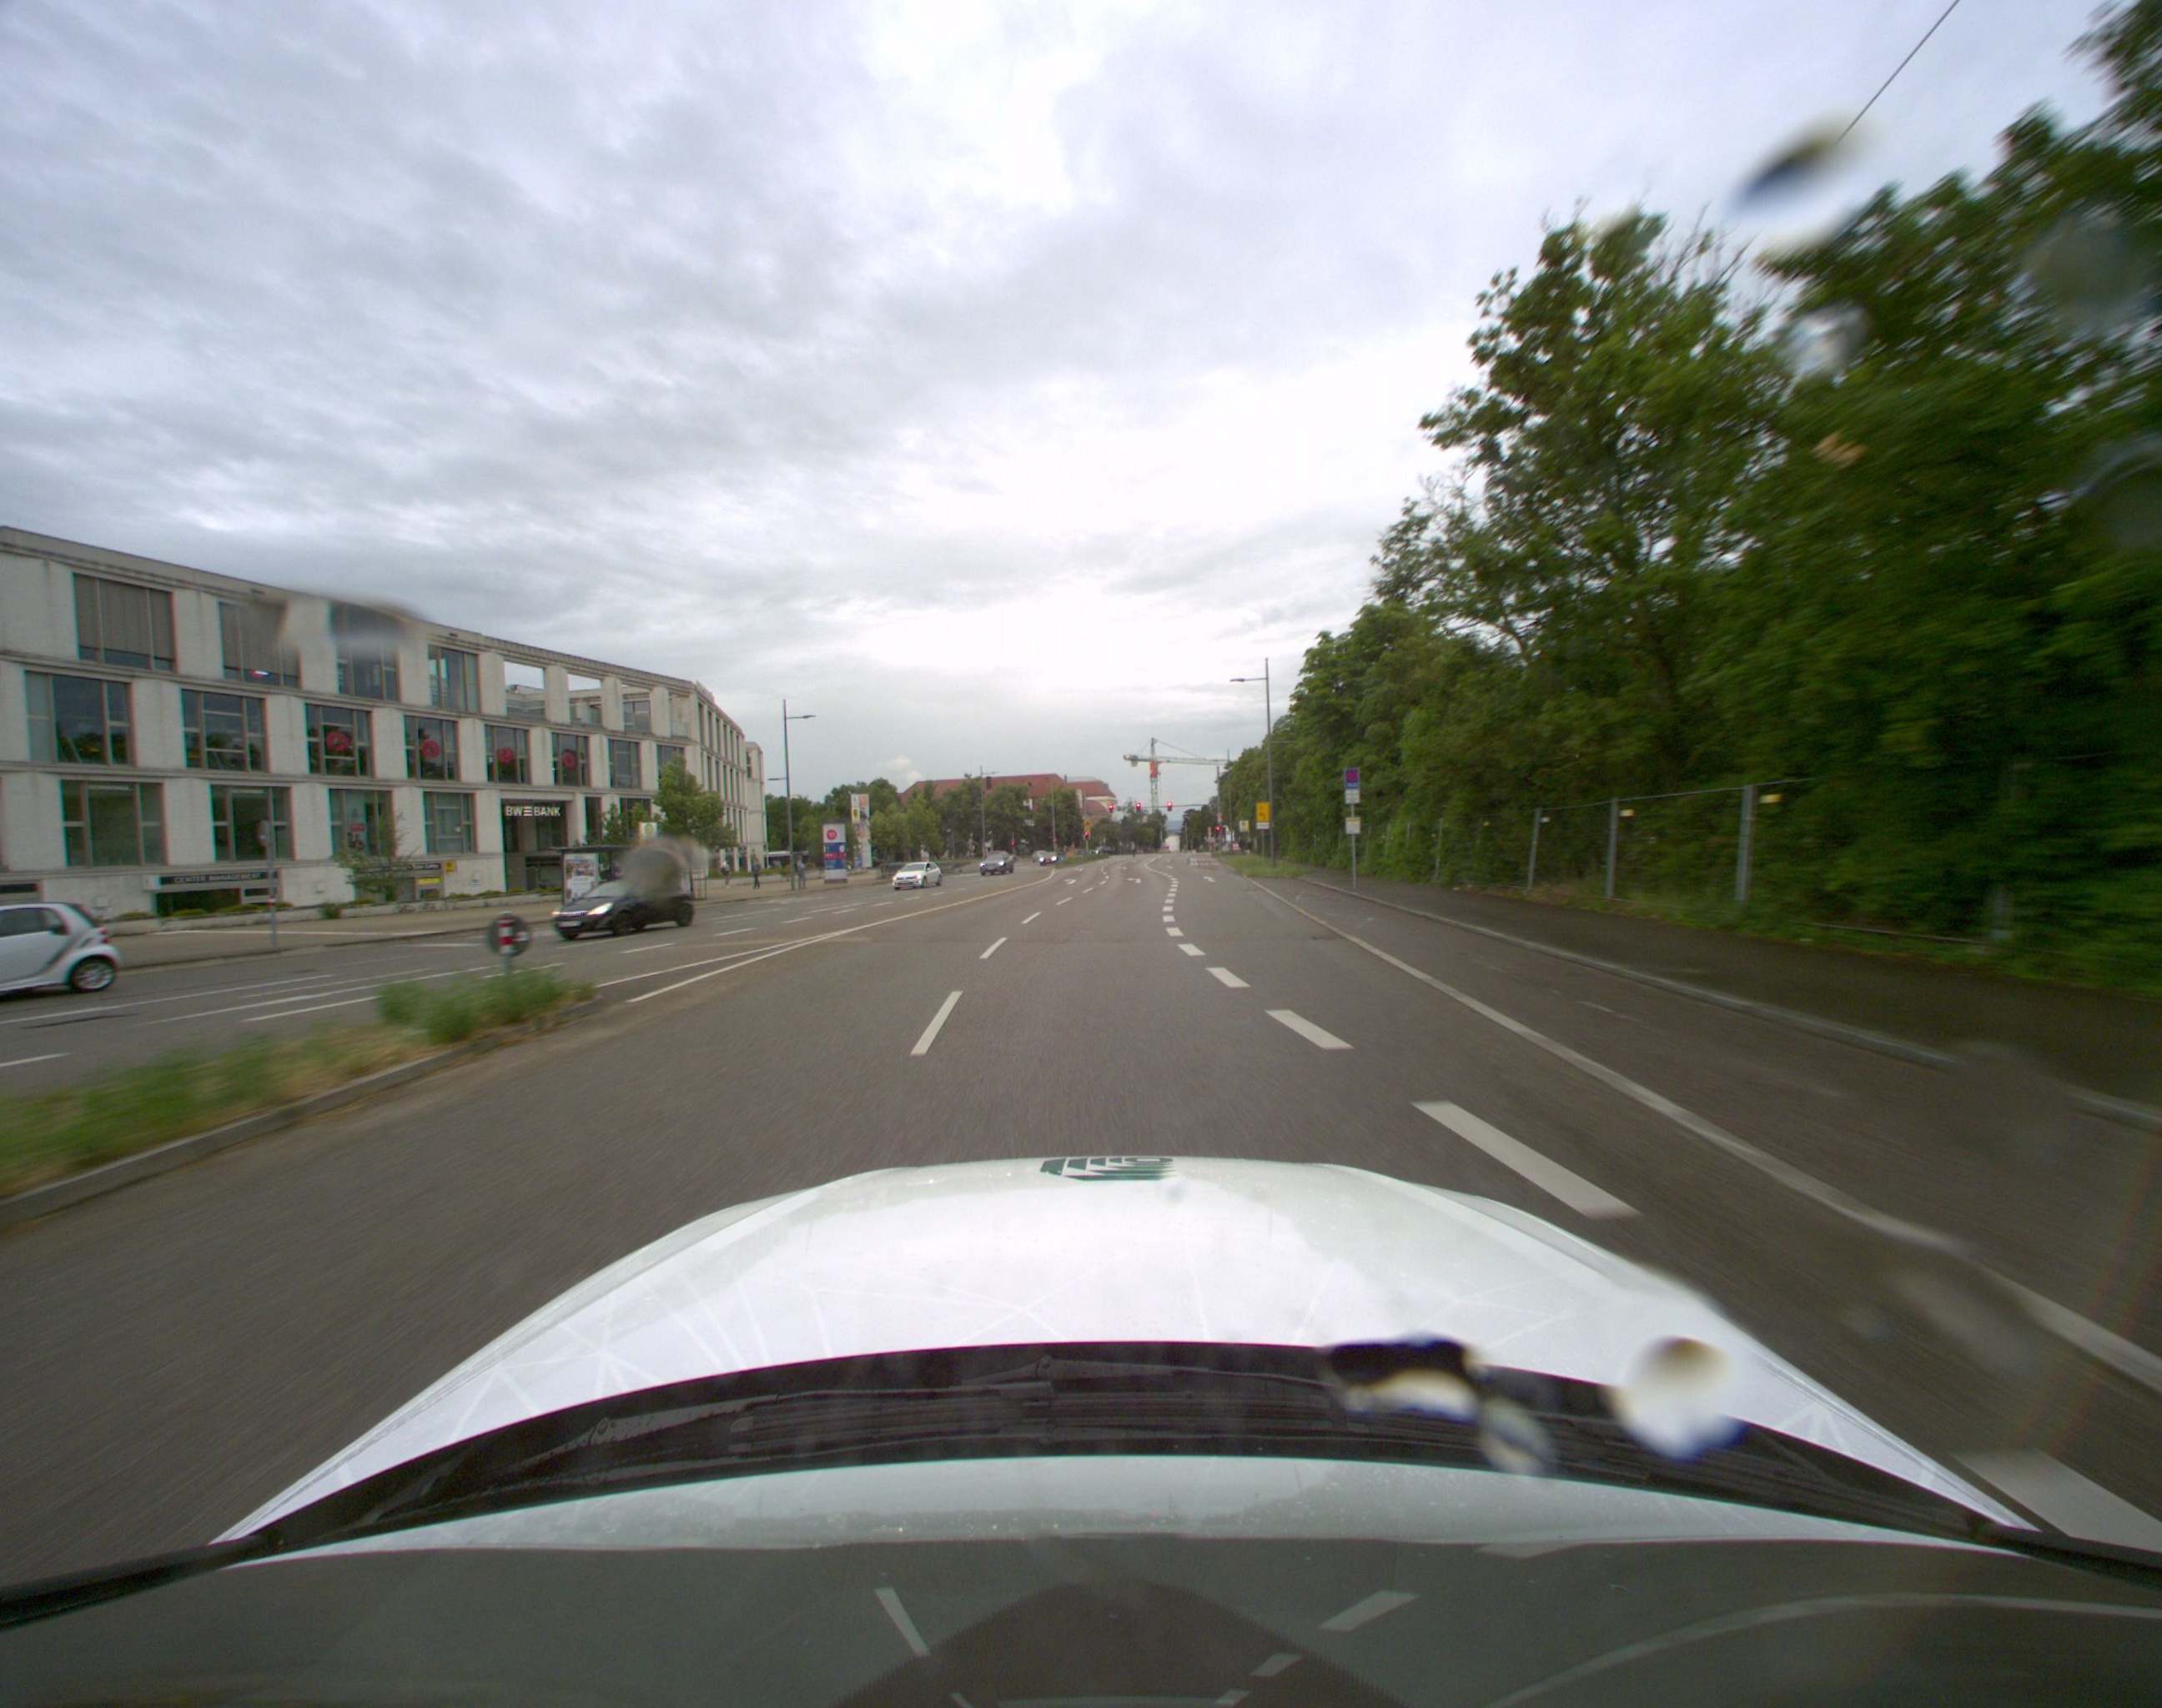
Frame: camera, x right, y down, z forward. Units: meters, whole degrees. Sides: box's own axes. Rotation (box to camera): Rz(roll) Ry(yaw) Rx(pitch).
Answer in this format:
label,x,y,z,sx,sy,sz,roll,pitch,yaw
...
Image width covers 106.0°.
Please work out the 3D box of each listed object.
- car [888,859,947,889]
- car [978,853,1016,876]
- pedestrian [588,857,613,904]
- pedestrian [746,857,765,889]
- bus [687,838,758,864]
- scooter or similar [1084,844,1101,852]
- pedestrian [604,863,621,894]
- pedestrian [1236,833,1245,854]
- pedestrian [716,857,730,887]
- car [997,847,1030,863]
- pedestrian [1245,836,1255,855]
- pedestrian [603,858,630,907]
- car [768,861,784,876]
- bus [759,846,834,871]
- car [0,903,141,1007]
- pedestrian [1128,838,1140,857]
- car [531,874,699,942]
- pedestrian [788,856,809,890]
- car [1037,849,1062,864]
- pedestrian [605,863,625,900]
label,x,y,z,sx,sy,sz,roll,pitch,yaw
car,-9.064,1.109,45.580,1.863,1.430,4.185,-5,-1,7
car,-6.477,0.808,63.540,1.822,1.572,4.603,-5,-1,7
pedestrian,-19.819,1.086,33.581,0.577,1.856,0.608,-2,0,5
pedestrian,-18.568,1.077,46.517,0.595,1.762,0.859,-2,0,10
bus,-50.248,-0.436,114.341,8.534,3.307,2.893,-3,1,-5
scooter or similar,2.140,-1.141,150.720,3.072,1.440,0.950,-2,0,5
pedestrian,-22.449,1.188,39.038,0.424,1.451,0.511,-2,0,8
pedestrian,14.914,-0.999,76.026,0.638,1.900,0.719,-3,1,2
pedestrian,-20.703,1.024,47.092,0.497,1.690,0.913,-2,0,-9
car,-9.120,0.124,109.716,3.949,1.917,2.013,-2,0,30
pedestrian,14.785,-0.727,71.433,0.673,1.657,0.793,-3,1,2
pedestrian,-18.023,1.090,31.603,0.504,1.842,0.757,-2,0,7
car,-39.610,1.875,105.747,1.780,1.731,3.972,-3,1,-20
bus,-40.187,0.631,115.119,9.667,3.103,2.905,-3,1,9
car,-17.489,1.627,12.909,1.605,1.508,2.979,-1,0,7
pedestrian,5.834,-0.743,89.706,0.934,2.013,0.850,-5,0,13
car,-12.215,1.363,21.680,1.836,1.462,3.875,-3,0,7
pedestrian,-15.572,1.023,44.898,0.748,1.842,0.748,-2,0,9
car,-3.356,0.236,87.004,1.822,1.416,4.475,-5,0,7
pedestrian,-21.918,1.284,38.278,0.521,1.725,0.568,-2,0,9
